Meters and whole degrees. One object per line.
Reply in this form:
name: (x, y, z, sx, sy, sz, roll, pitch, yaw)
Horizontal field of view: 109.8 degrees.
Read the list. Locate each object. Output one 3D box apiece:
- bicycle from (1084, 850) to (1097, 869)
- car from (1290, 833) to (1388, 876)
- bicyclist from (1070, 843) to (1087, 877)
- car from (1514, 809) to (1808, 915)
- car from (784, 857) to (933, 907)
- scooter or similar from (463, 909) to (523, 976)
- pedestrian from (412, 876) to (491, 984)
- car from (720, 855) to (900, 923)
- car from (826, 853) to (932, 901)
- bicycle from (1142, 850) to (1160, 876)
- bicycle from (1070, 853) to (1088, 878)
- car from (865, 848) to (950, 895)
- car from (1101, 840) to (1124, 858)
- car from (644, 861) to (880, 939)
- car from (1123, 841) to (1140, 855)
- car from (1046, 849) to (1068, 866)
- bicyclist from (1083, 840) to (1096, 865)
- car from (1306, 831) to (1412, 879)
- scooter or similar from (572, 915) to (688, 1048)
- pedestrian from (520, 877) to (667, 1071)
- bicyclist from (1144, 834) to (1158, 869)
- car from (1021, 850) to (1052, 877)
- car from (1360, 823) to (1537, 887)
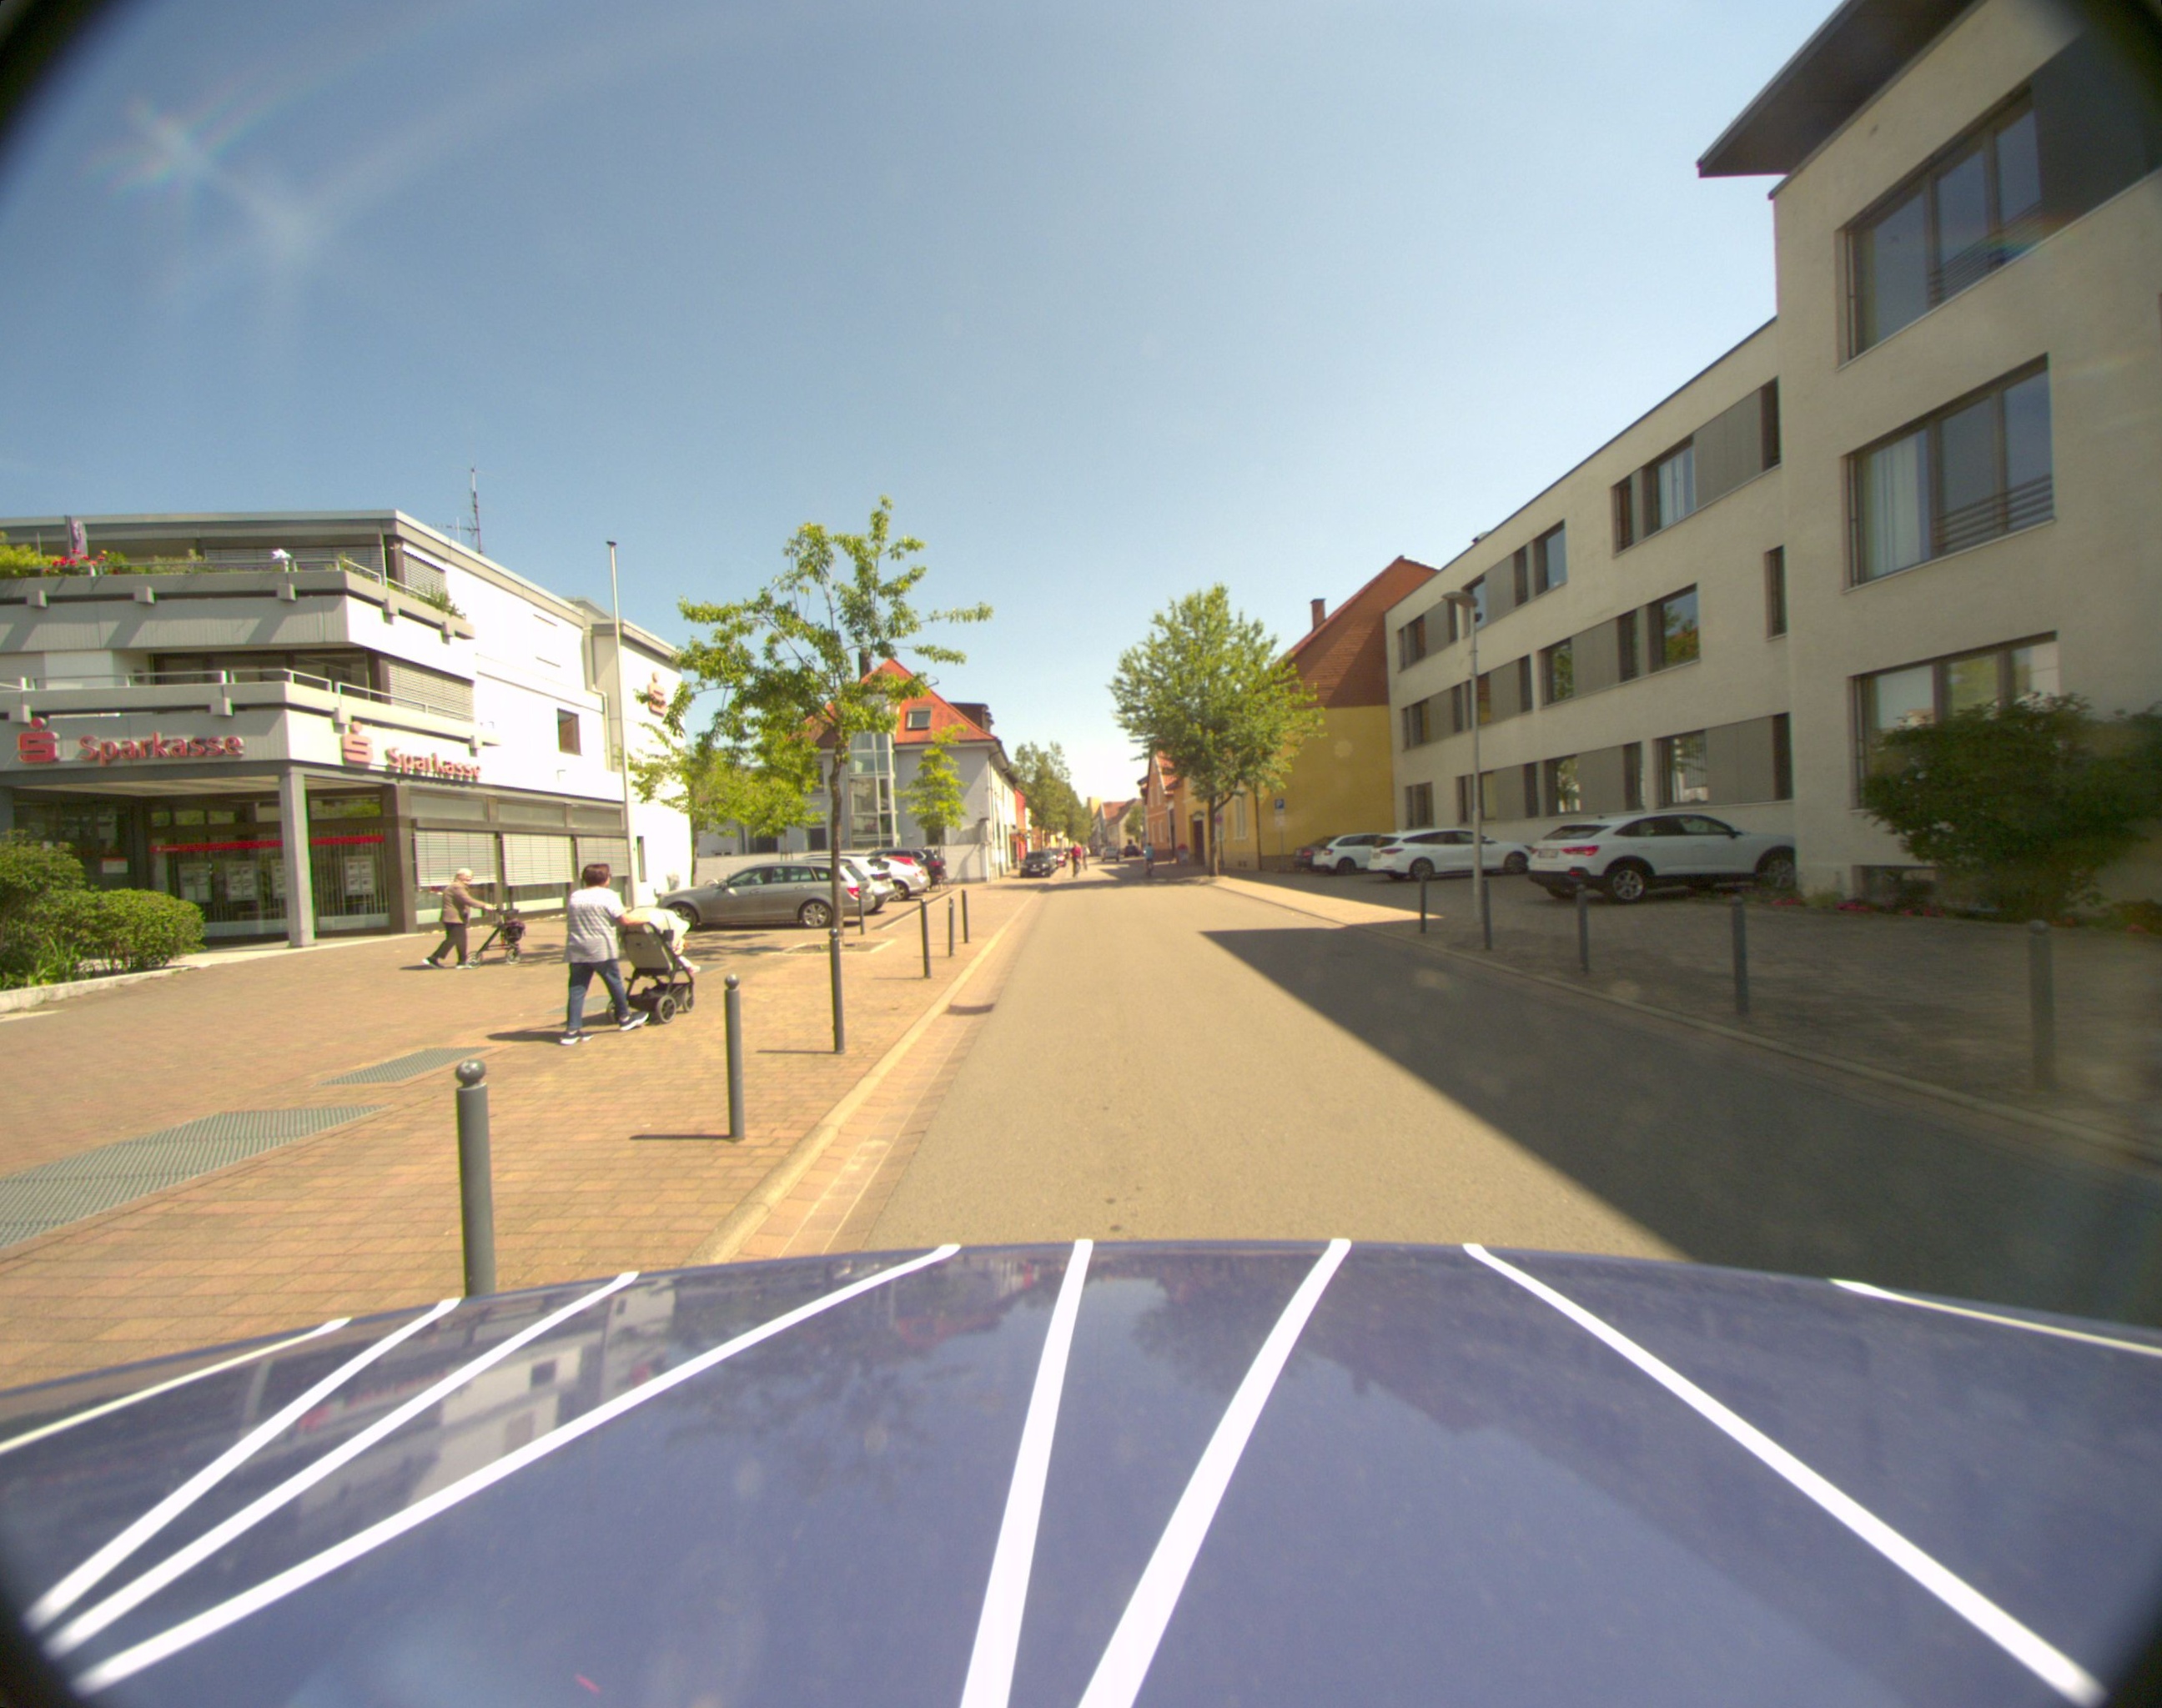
bicycle: (0.614, 0.346, 50.147, 0.690, 1.183, 1.798, -4, 1, -3)
car: (9.967, 0.010, 29.486, 3.258, 1.393, 1.374, -4, 1, -2)
bicyclist: (-0.133, 0.288, 39.382, 0.703, 1.707, 0.759, -4, 2, -3)
car: (10.396, 0.128, 13.820, 3.997, 1.539, 1.748, -4, 1, -2)
car: (-7.166, 0.877, 24.874, 4.446, 1.434, 1.655, -1, 1, -8)
scooter or similar: (-8.974, 1.334, 11.602, 0.535, 0.940, 0.548, -1, 1, 36)
pedestrian: (-9.274, 1.094, 11.202, 0.530, 1.492, 0.725, -1, 1, 35)
car: (-6.865, 0.851, 19.592, 4.047, 1.550, 1.711, -1, 1, -6)
car: (-7.217, 0.794, 27.409, 3.431, 1.543, 1.490, -2, 1, -5)
bicycle: (3.355, 0.413, 36.302, 0.595, 1.183, 1.724, -3, 1, -2)
bicycle: (-0.129, 0.591, 39.402, 0.738, 1.183, 1.970, -4, 1, -3)
car: (-6.703, 0.657, 29.550, 3.041, 1.727, 1.344, -1, 1, -5)
car: (3.190, -0.532, 77.444, 1.999, 1.696, 3.999, -2, 1, -1)
car: (-6.858, 0.961, 16.726, 4.446, 1.457, 1.689, -1, 2, -6)
car: (6.604, -0.815, 99.780, 1.826, 1.805, 3.999, -2, 1, -1)
car: (-1.967, 0.252, 61.918, 1.530, 1.298, 3.248, -1, 1, -6)
bicyclist: (0.580, -0.119, 50.084, 0.703, 1.573, 0.878, -4, 2, -3)
car: (9.930, 0.021, 27.276, 3.139, 1.442, 1.642, -4, 1, 1)
scooter or similar: (-4.285, 1.180, 7.281, 0.505, 1.112, 0.909, -3, -1, 2)
pedestrian: (-4.220, 0.989, 6.658, 0.513, 1.507, 1.048, -2, 2, 1)
bicyclist: (3.333, -0.107, 36.245, 0.538, 1.630, 0.551, -2, 1, -2)
car: (-2.498, 0.496, 42.323, 1.530, 1.444, 3.519, -1, 1, -6)
car: (10.600, 0.013, 22.085, 4.324, 1.470, 1.513, -4, 1, 0)
